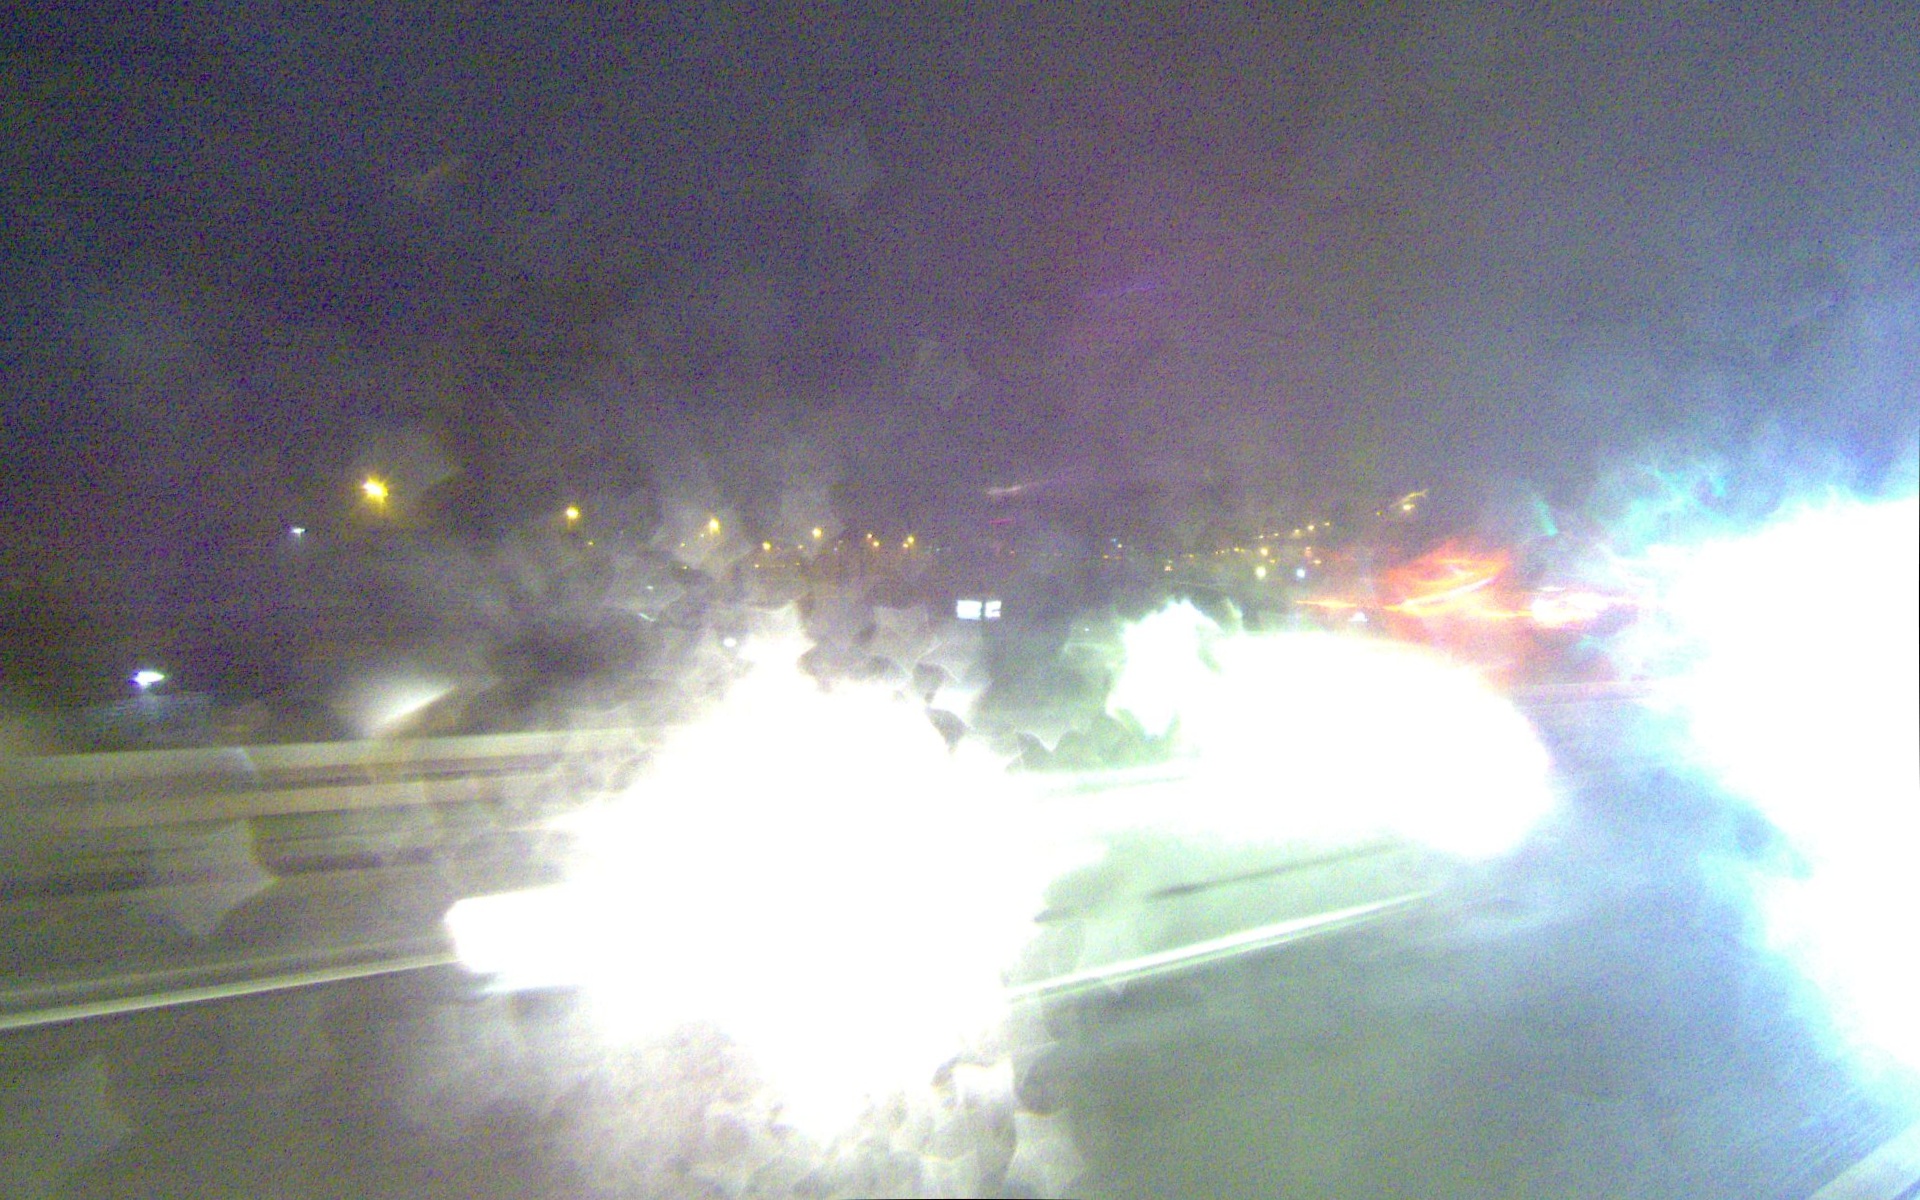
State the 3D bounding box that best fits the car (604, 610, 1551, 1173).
[{"bbox_3d":[0.640,0.790,4.321,3.820,1.423,1.719,1,-1,-32],"label":"car"}]
